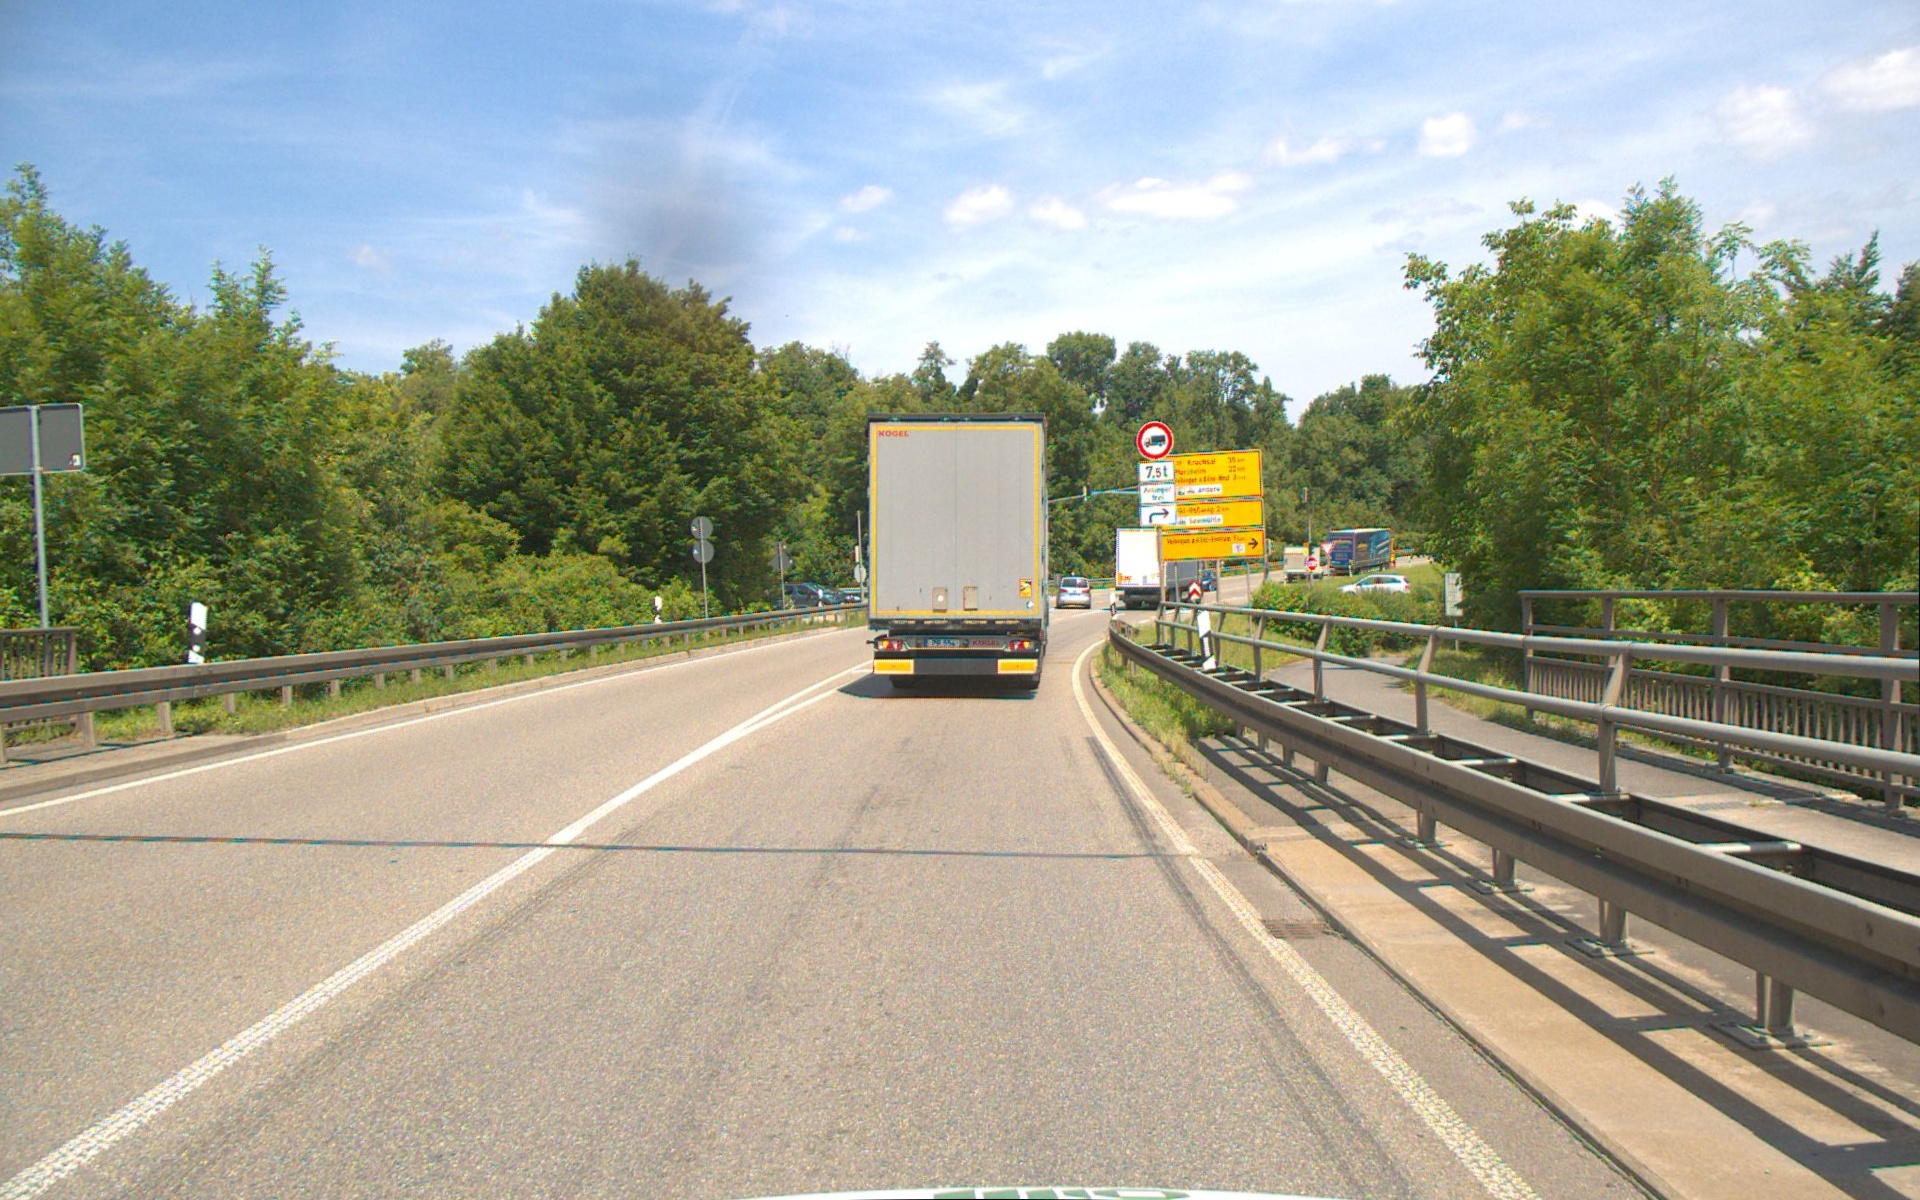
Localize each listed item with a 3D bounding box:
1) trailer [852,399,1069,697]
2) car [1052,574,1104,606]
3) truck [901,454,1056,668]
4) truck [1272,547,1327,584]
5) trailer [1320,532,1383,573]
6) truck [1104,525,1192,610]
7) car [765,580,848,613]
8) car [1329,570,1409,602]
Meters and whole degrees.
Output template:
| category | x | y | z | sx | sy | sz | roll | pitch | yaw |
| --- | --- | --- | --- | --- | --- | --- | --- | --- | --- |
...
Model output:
| category | x | y | z | sx | sy | sz | roll | pitch | yaw |
| --- | --- | --- | --- | --- | --- | --- | --- | --- | --- |
| trailer | 0.238 | -0.746 | 29.214 | 2.988 | 4.104 | 12.562 | 0 | 0 | 2 |
| car | 6.132 | -0.485 | 85.700 | 1.951 | 1.546 | 4.003 | 1 | -1 | 15 |
| truck | 0.475 | -0.774 | 35.217 | 2.975 | 4.104 | 6.631 | 0 | 0 | 2 |
| truck | 28.660 | -2.899 | 139.273 | 2.800 | 2.999 | 7.097 | 0 | 1 | 27 |
| trailer | 36.703 | -4.416 | 154.812 | 3.191 | 3.749 | 9.232 | 0 | 1 | 30 |
| truck | 9.896 | -1.584 | 85.774 | 3.111 | 4.099 | 11.754 | 0 | 0 | 14 |
| car | -8.480 | -0.205 | 91.446 | 4.145 | 1.801 | 2.001 | 0 | 0 | 19 |
| car | 23.287 | -0.779 | 94.172 | 4.333 | 1.748 | 2.001 | 1 | -1 | 14 |
